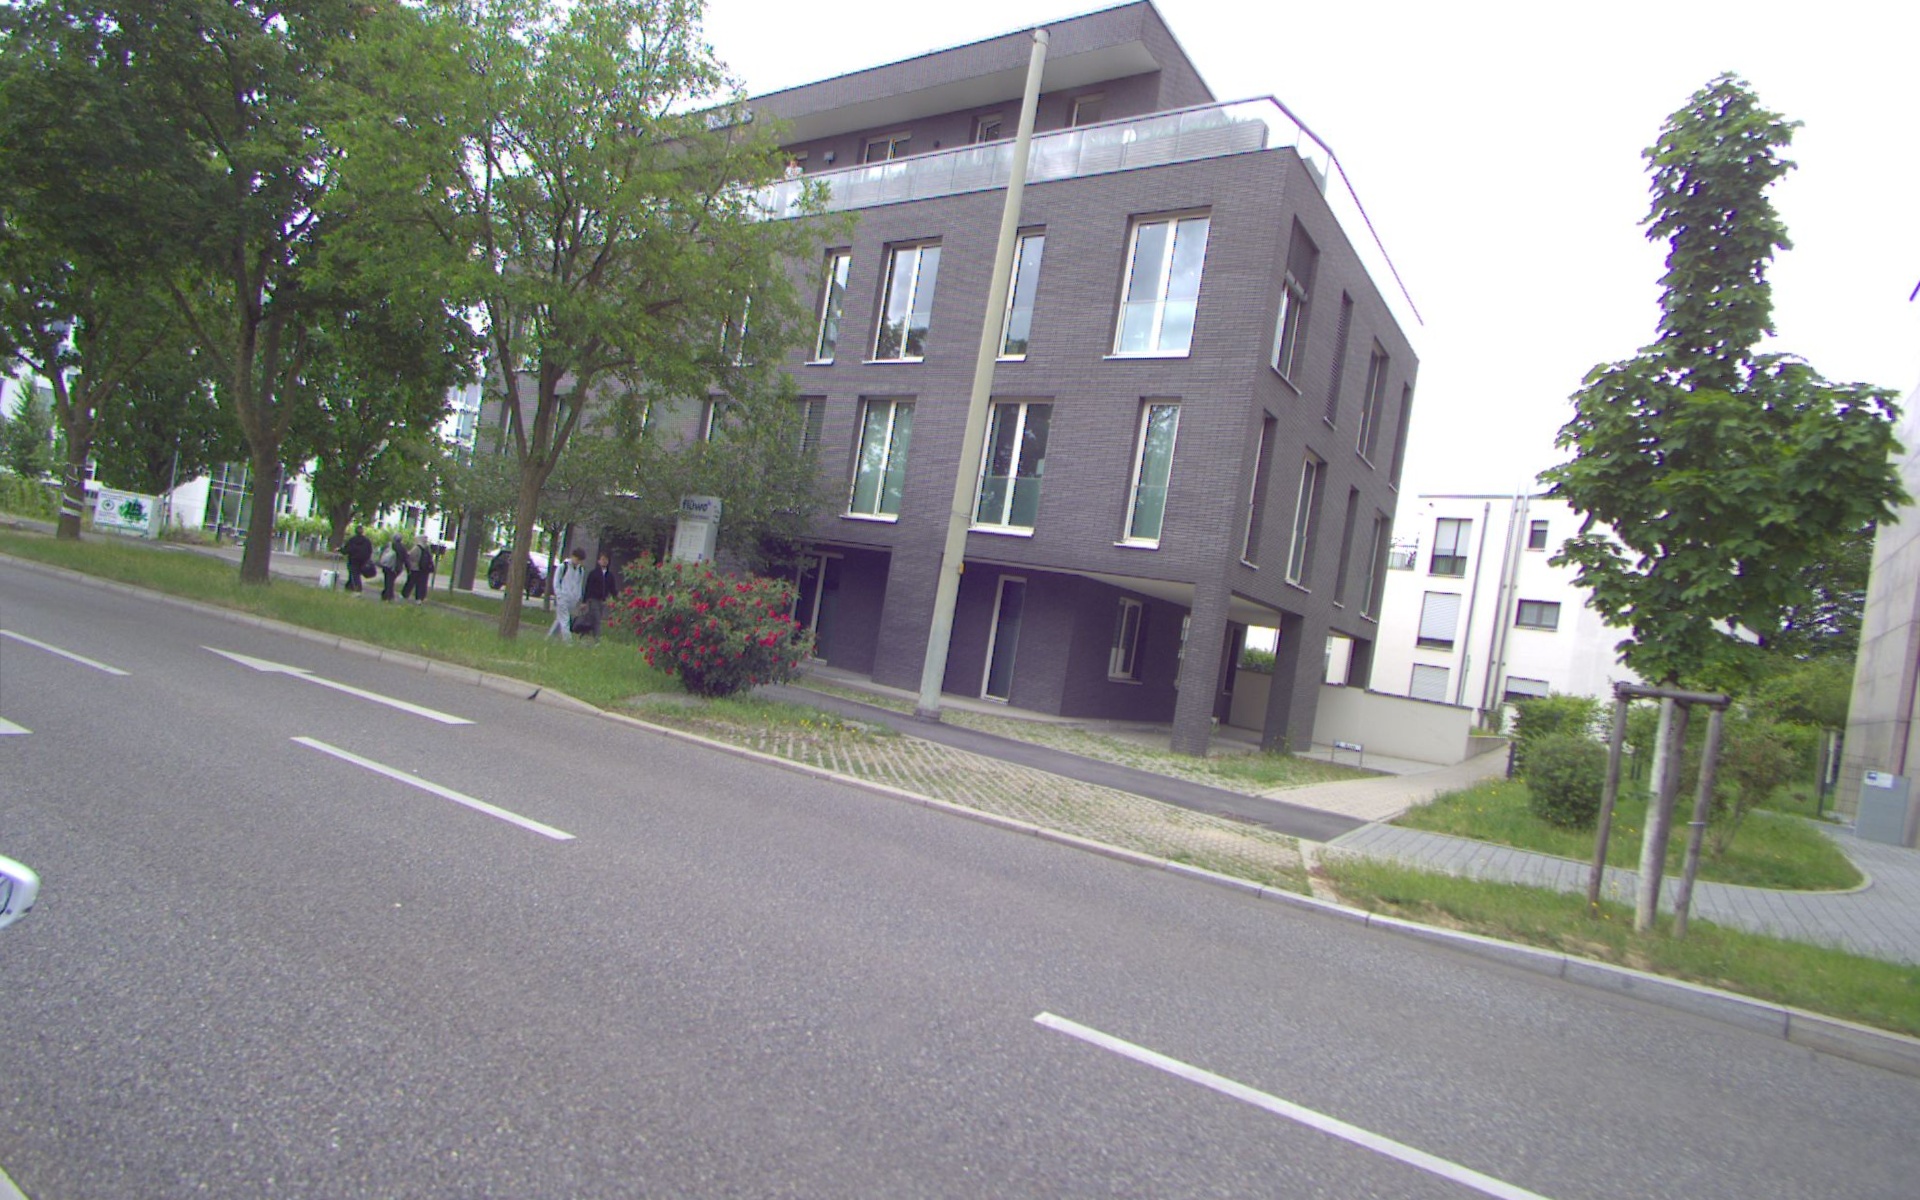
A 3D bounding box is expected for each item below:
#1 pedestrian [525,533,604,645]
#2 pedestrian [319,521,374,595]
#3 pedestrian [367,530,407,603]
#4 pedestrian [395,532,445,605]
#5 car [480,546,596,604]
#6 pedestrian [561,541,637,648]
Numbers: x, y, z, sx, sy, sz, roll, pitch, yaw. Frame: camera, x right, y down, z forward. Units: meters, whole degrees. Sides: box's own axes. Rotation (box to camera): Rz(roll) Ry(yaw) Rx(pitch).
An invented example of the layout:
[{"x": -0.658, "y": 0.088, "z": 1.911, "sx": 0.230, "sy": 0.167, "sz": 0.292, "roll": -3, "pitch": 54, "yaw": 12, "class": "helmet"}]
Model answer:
[{"x": -6.980, "y": -0.193, "z": 17.768, "sx": 0.938, "sy": 1.796, "sz": 0.609, "roll": 10, "pitch": 1, "yaw": 31, "class": "pedestrian"}, {"x": -14.022, "y": -0.954, "z": 22.989, "sx": 0.578, "sy": 1.570, "sz": 0.726, "roll": 8, "pitch": -1, "yaw": 36, "class": "pedestrian"}, {"x": -12.976, "y": -0.762, "z": 22.787, "sx": 0.553, "sy": 1.570, "sz": 0.409, "roll": 7, "pitch": -1, "yaw": 36, "class": "pedestrian"}, {"x": -12.591, "y": -0.733, "z": 23.441, "sx": 0.732, "sy": 1.570, "sz": 0.589, "roll": 8, "pitch": -1, "yaw": 36, "class": "pedestrian"}, {"x": -15.676, "y": -0.945, "z": 37.343, "sx": 4.111, "sy": 1.570, "sz": 1.828, "roll": 7, "pitch": -1, "yaw": 33, "class": "car"}, {"x": -6.625, "y": -0.096, "z": 18.464, "sx": 0.938, "sy": 1.796, "sz": 0.609, "roll": 10, "pitch": 1, "yaw": 31, "class": "pedestrian"}]
